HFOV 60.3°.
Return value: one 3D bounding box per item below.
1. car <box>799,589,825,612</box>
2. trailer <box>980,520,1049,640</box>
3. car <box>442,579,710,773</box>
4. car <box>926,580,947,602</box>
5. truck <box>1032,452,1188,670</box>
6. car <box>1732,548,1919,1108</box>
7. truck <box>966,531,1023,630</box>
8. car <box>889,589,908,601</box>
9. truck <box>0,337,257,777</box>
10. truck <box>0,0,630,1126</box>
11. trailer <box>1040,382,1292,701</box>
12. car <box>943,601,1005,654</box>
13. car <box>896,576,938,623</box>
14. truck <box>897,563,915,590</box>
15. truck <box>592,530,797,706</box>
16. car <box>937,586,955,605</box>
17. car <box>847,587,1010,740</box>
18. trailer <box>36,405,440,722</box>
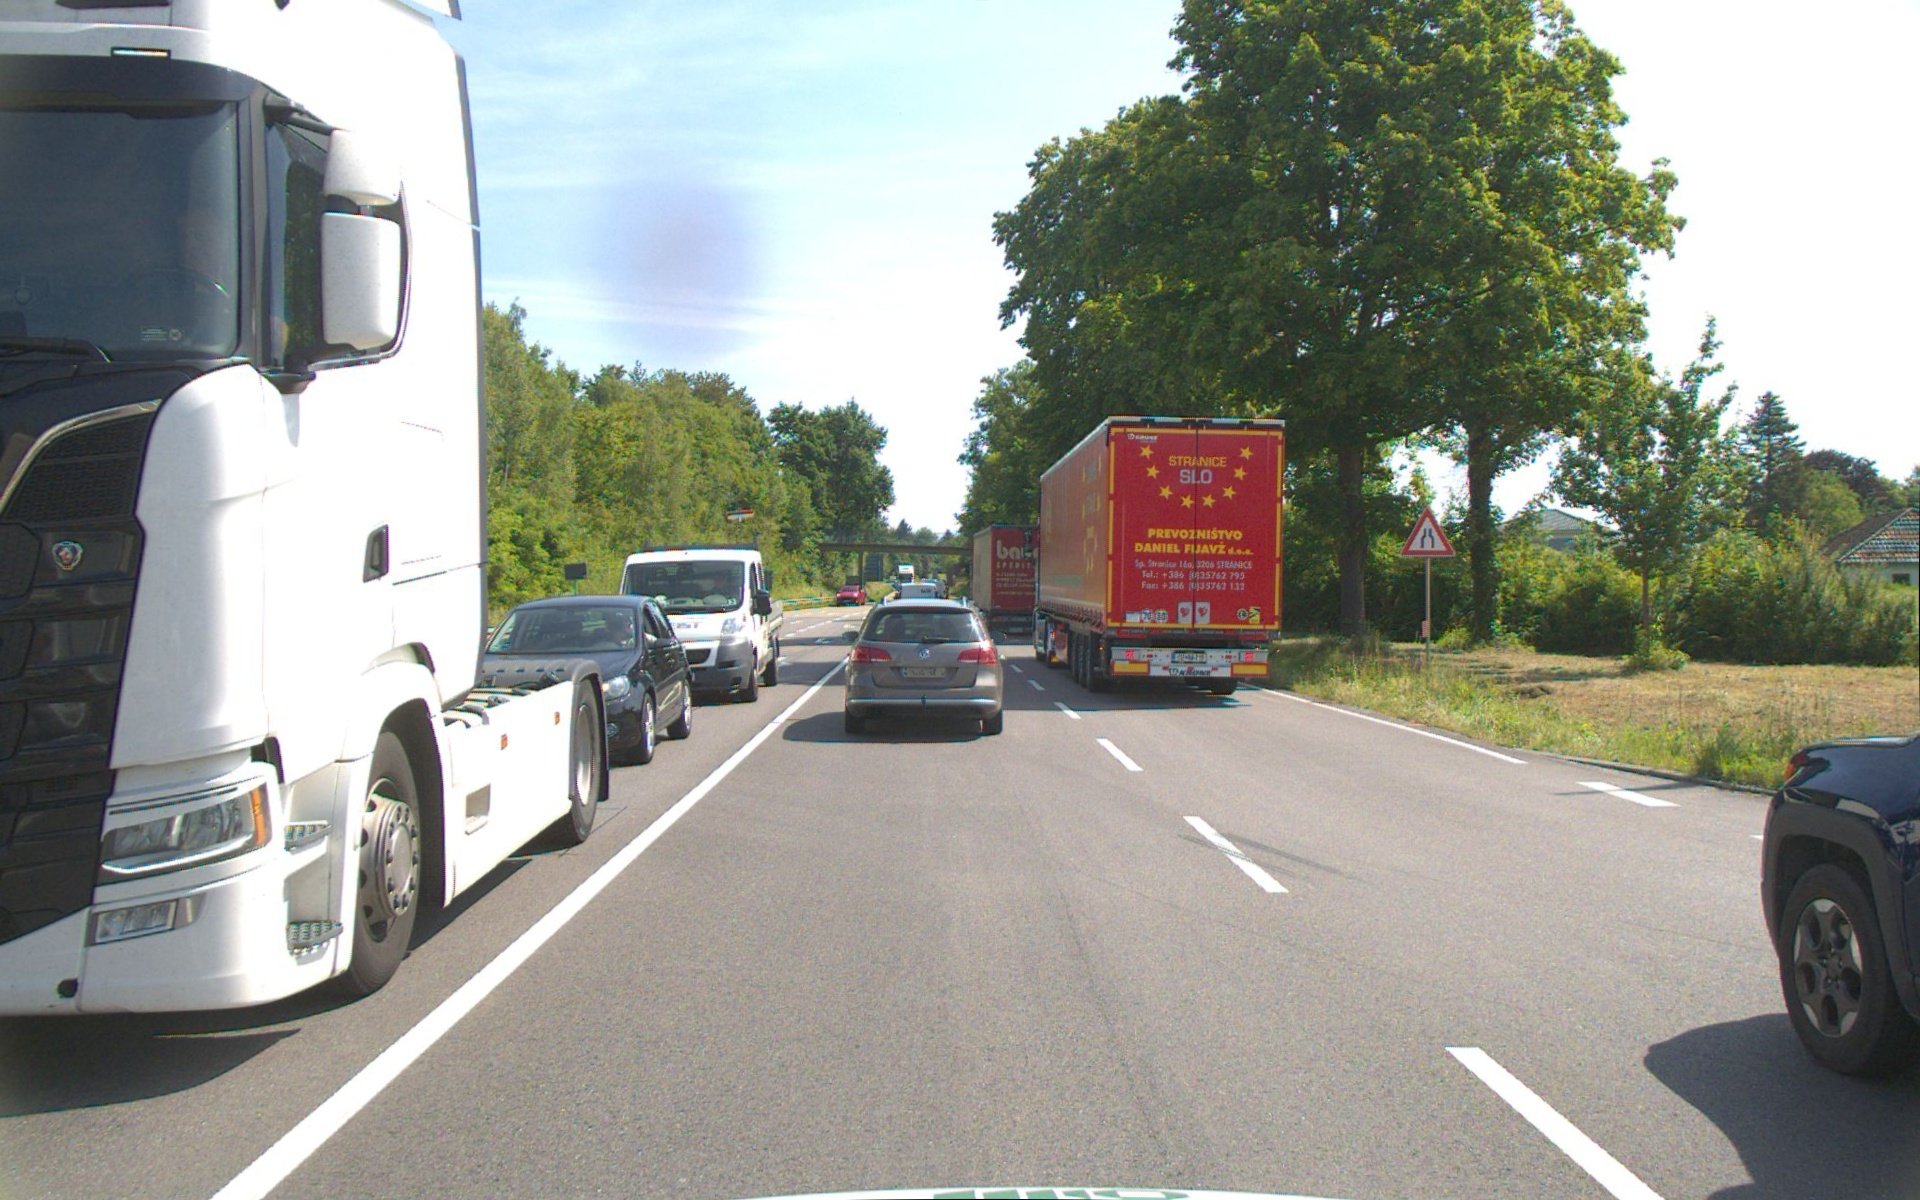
[{"bbox_3d":[-12.528,0.045,139.993,1.933,1.828,4.806,-1,0,-2],"label":"car"},{"bbox_3d":[2.061,-0.711,66.454,2.346,4.317,13.077,-1,0,0],"label":"trailer"},{"bbox_3d":[-3.514,0.639,15.860,1.676,1.578,4.108,-1,0,-2],"label":"car"},{"bbox_3d":[-2.266,-0.828,158.680,1.953,2.049,3.998,-1,0,-2],"label":"car"},{"bbox_3d":[3.147,-0.776,36.180,2.811,4.356,5.838,1,0,-1],"label":"truck"},{"bbox_3d":[3.724,0.666,4.152,1.734,1.683,4.000,-1,0,1],"label":"car"},{"bbox_3d":[1.495,-0.826,73.225,2.357,4.200,5.521,-1,0,0],"label":"truck"},{"bbox_3d":[-7.262,-0.580,195.224,1.923,1.439,4.000,-1,0,1],"label":"car"},{"bbox_3d":[-10.560,-0.387,17.001,2.773,4.188,9.678,-1,0,-2],"label":"truck"},{"bbox_3d":[-3.318,-0.604,7.691,2.486,4.159,6.262,-1,0,-3],"label":"truck"},{"bbox_3d":[3.212,-0.805,29.806,2.781,4.442,13.165,1,0,0],"label":"trailer"},{"bbox_3d":[0.403,0.815,51.462,1.735,1.539,3.998,-1,0,-2],"label":"car"},{"bbox_3d":[-1.895,-0.005,72.263,1.735,1.970,3.976,-1,0,-2],"label":"car"},{"bbox_3d":[-8.526,-3.700,259.518,2.718,3.999,9.462,-1,0,-2],"label":"truck"},{"bbox_3d":[-3.890,0.250,25.498,2.182,2.307,6.498,-1,0,-1],"label":"truck"},{"bbox_3d":[-1.574,-0.526,185.143,1.953,2.049,3.998,-1,0,-2],"label":"car"},{"bbox_3d":[-0.387,0.663,19.172,1.657,1.539,3.998,-1,0,-2],"label":"car"},{"bbox_3d":[-10.935,-0.474,26.282,2.783,4.141,8.752,-1,0,-2],"label":"trailer"}]
